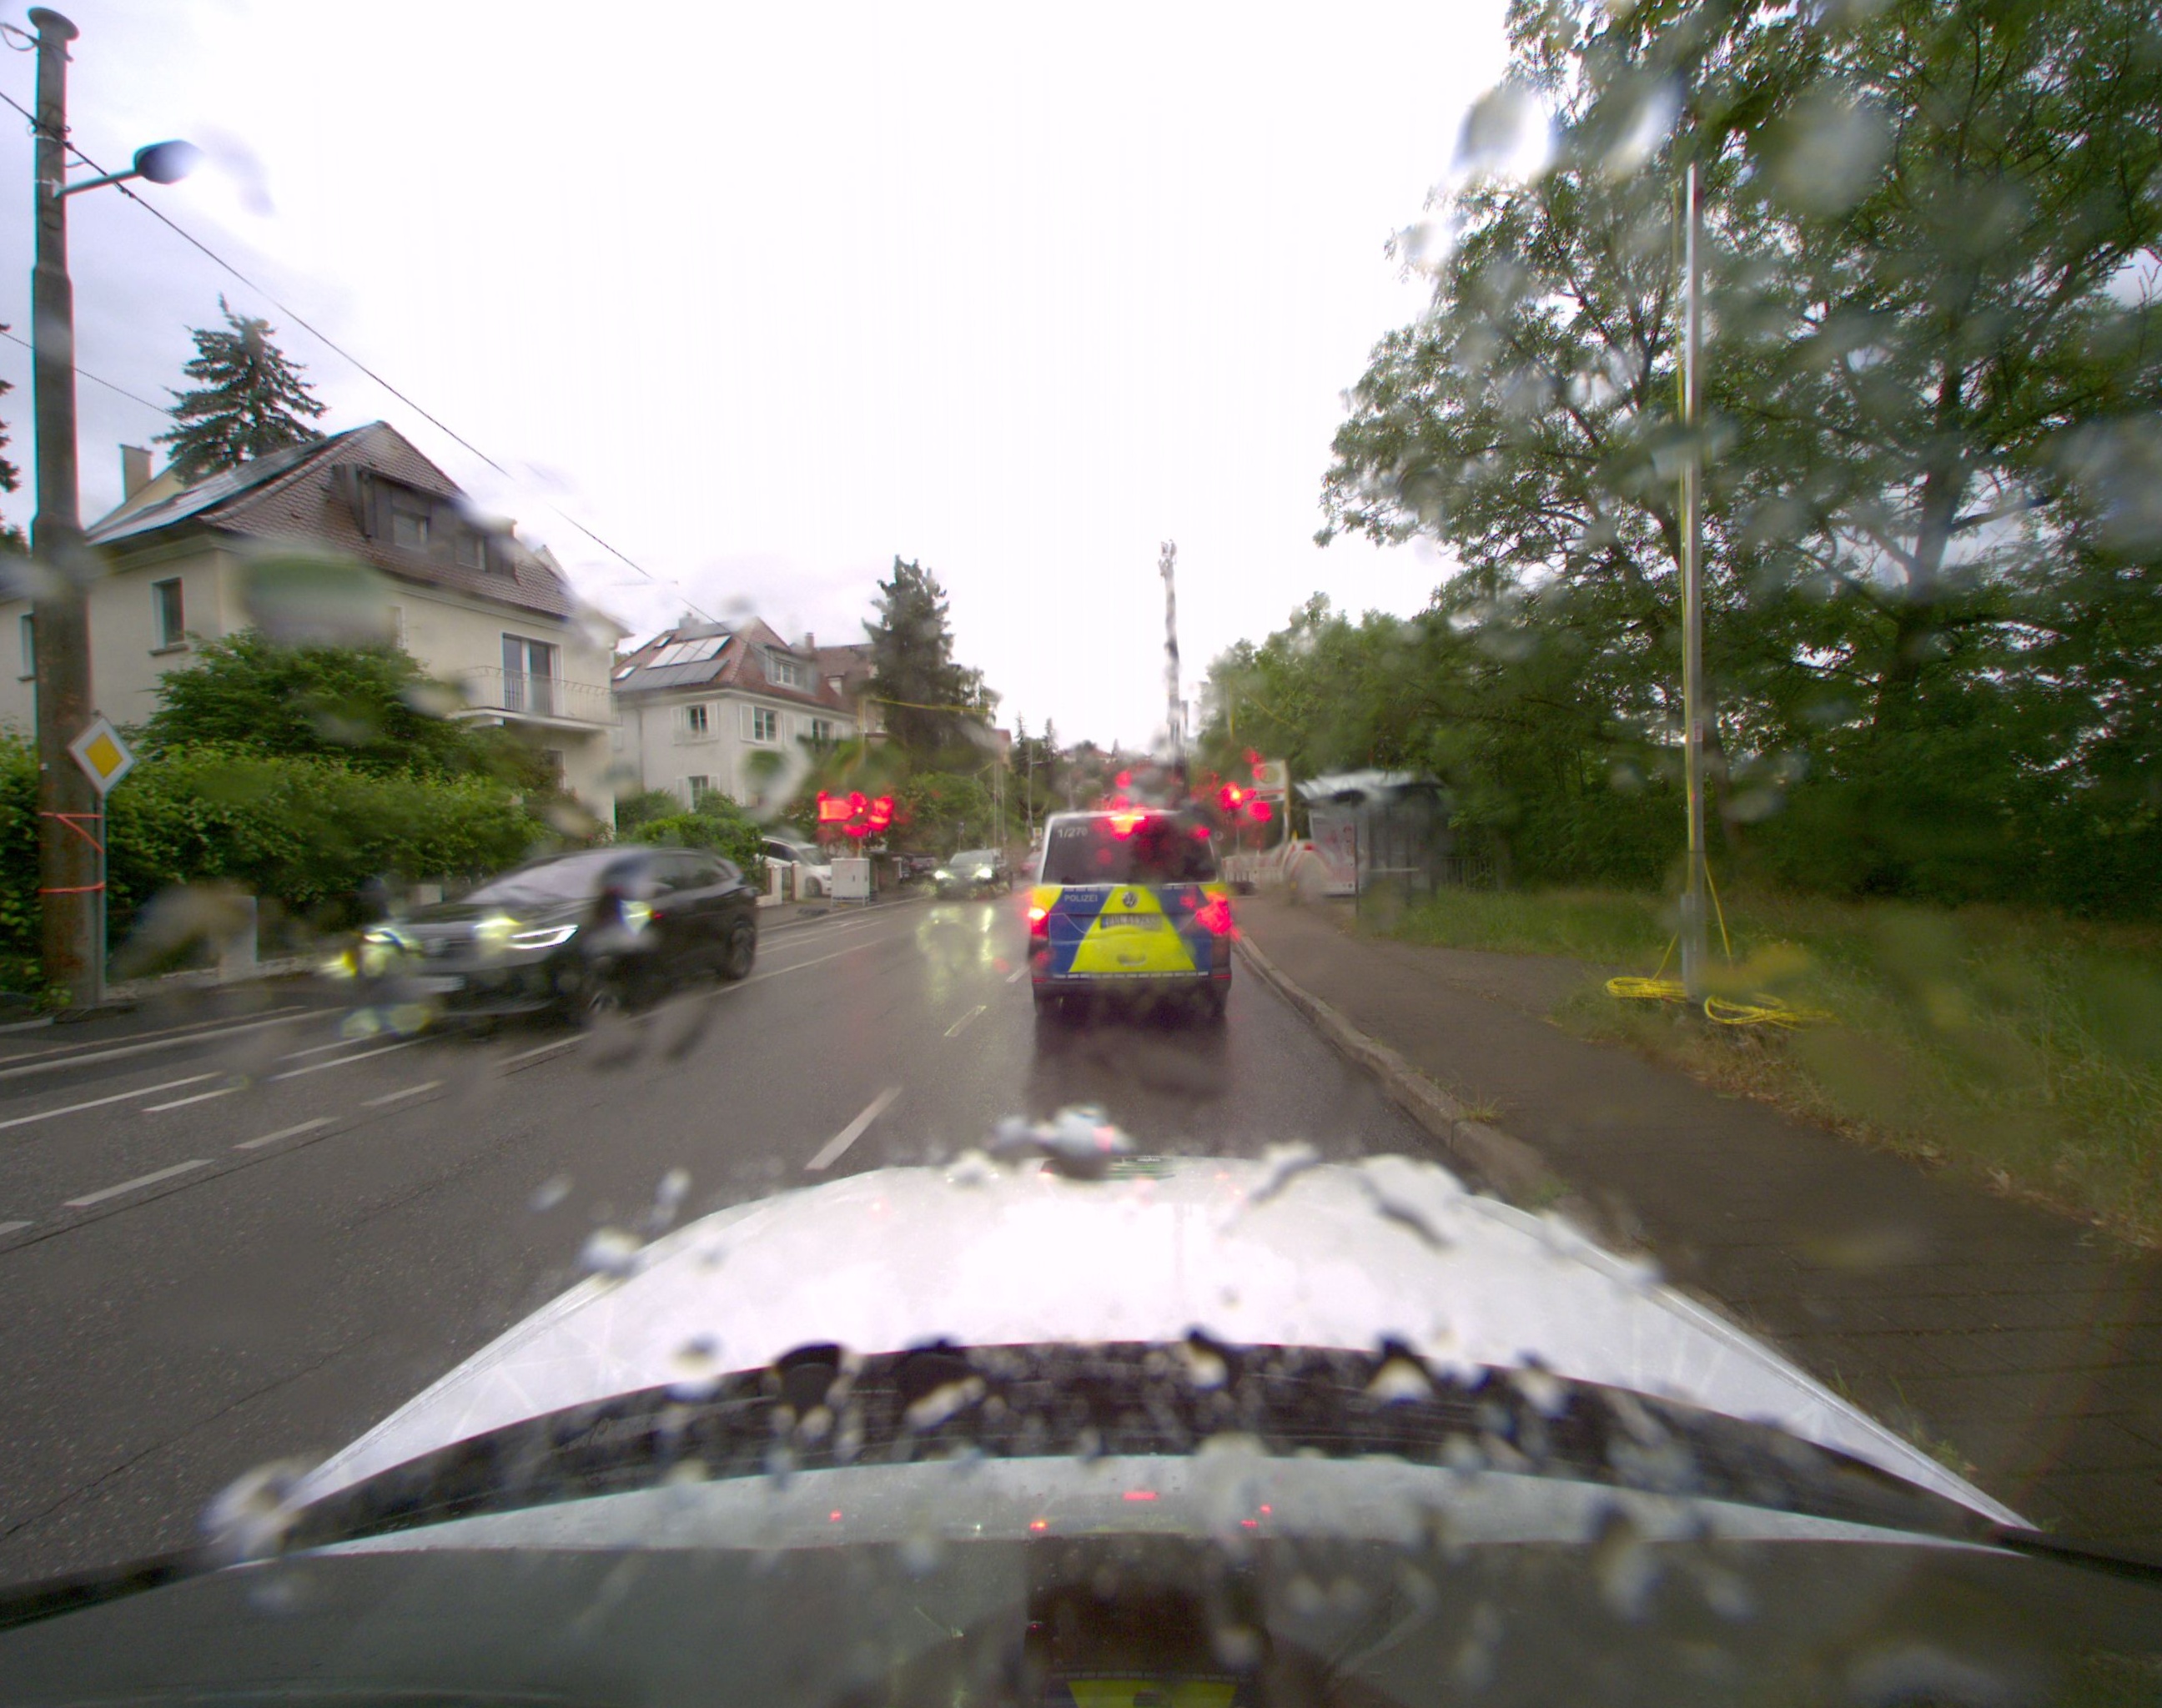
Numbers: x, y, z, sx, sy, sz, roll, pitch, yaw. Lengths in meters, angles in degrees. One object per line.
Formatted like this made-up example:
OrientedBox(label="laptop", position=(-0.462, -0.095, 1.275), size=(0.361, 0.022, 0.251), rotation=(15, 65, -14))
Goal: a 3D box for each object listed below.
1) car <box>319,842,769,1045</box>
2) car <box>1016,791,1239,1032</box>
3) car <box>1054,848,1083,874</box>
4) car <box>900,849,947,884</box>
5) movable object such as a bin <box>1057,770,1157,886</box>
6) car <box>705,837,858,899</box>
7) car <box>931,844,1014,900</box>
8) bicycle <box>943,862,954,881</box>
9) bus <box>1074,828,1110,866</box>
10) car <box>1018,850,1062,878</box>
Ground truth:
OrientedBox(label="car", position=(-5.116, 0.701, 8.619), size=(1.859, 1.621, 4.167), rotation=(-1, 0, 2))
OrientedBox(label="car", position=(0.461, 0.487, 8.945), size=(1.886, 2.050, 4.002), rotation=(0, 0, 2))
OrientedBox(label="car", position=(-0.912, 0.458, 57.932), size=(1.973, 1.748, 4.551), rotation=(-1, 0, -1))
OrientedBox(label="car", position=(-7.456, 0.564, 38.303), size=(1.770, 1.486, 3.720), rotation=(0, 1, -17))
OrientedBox(label="movable object such as a bin", position=(1.104, -0.923, 31.776), size=(2.809, 4.177, 4.400), rotation=(0, 0, 17))
OrientedBox(label="car", position=(-10.282, 0.466, 28.060), size=(4.599, 2.007, 1.907), rotation=(0, 0, 13))
OrientedBox(label="car", position=(-3.577, 0.569, 27.696), size=(1.986, 1.674, 4.690), rotation=(-2, 0, 2))
OrientedBox(label="bicycle", position=(-6.502, 0.835, 39.893), size=(0.463, 0.897, 1.627), rotation=(-1, 0, -12))
OrientedBox(label="bus", position=(1.304, -0.722, 86.084), size=(2.827, 3.718, 12.022), rotation=(0, 0, 5))
OrientedBox(label="car", position=(-2.184, 0.513, 44.119), size=(1.755, 1.463, 3.893), rotation=(0, 0, 6))
